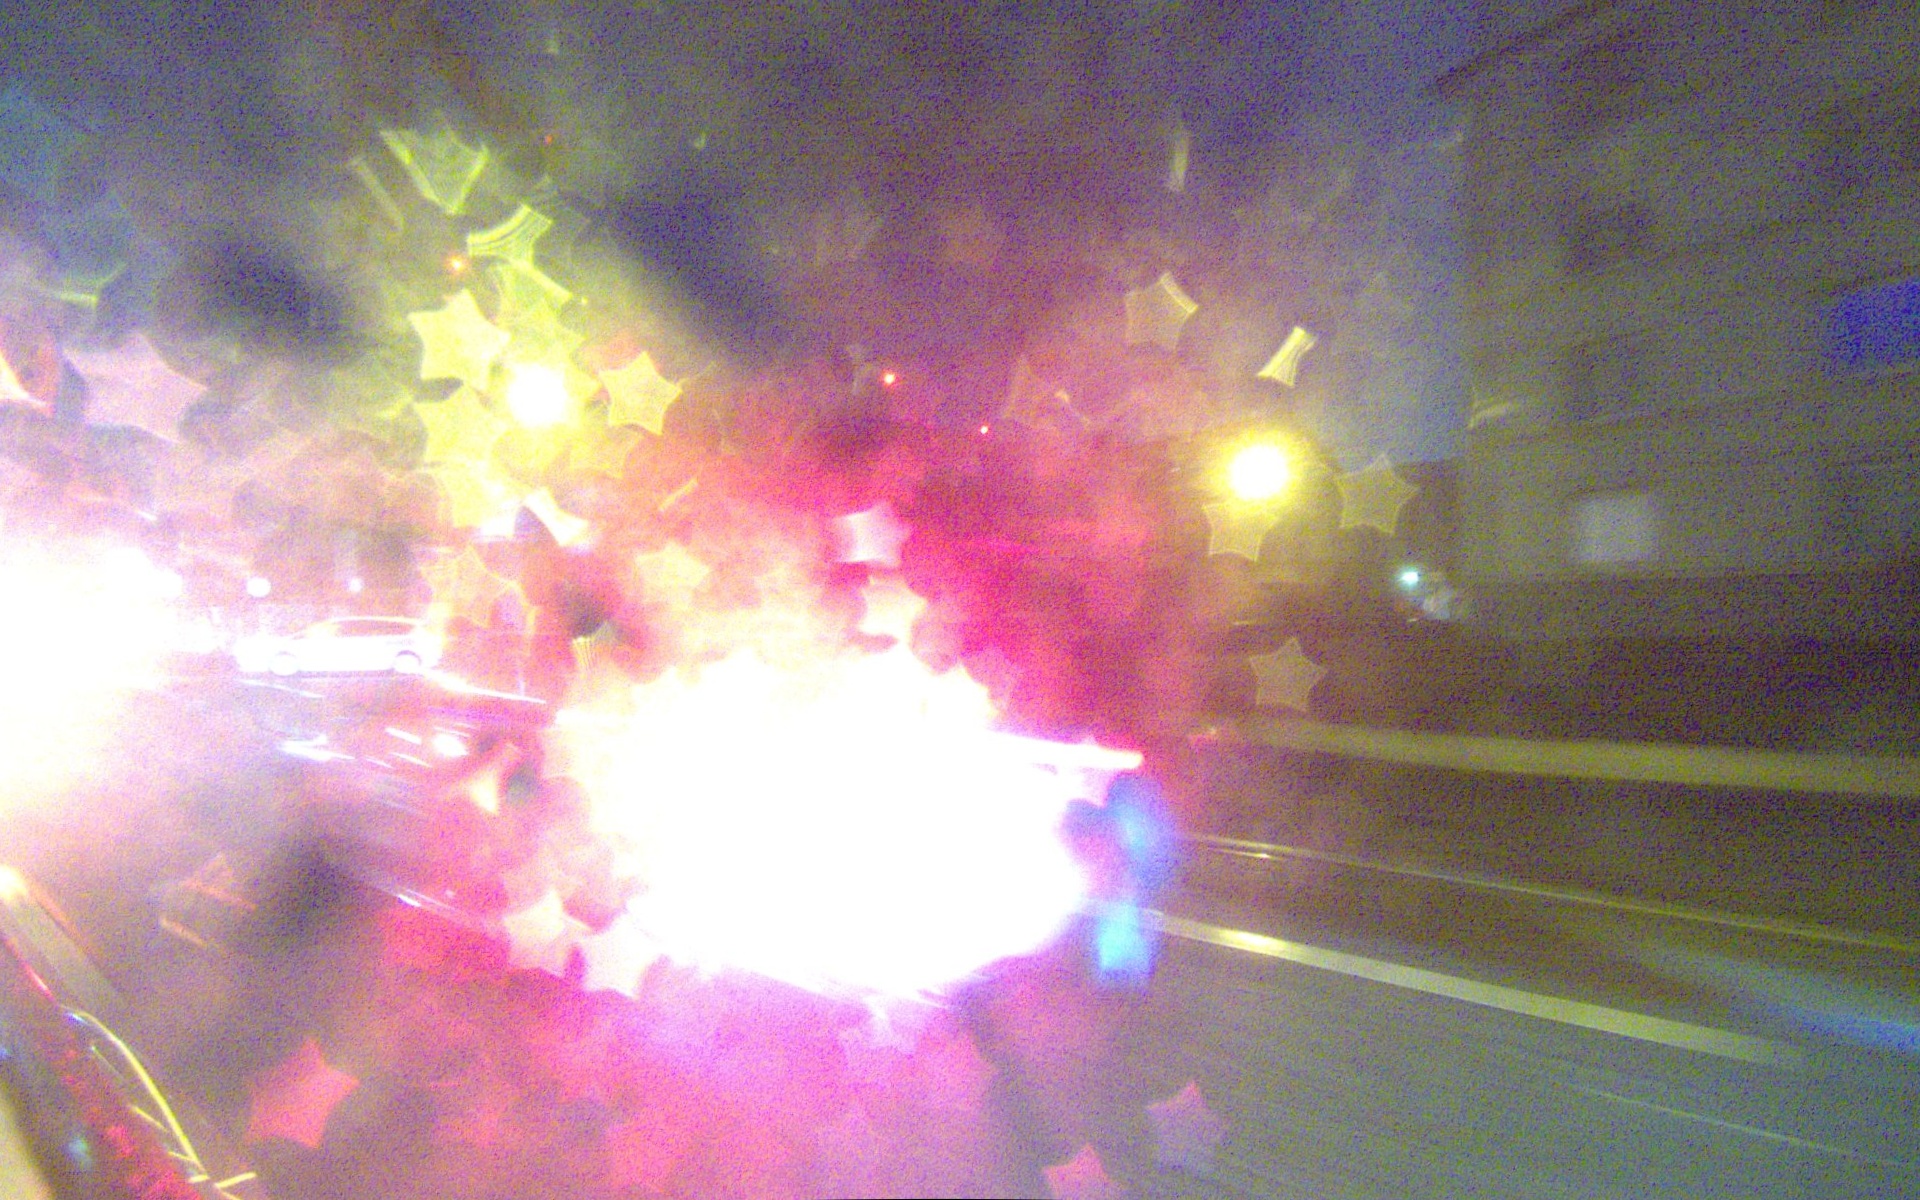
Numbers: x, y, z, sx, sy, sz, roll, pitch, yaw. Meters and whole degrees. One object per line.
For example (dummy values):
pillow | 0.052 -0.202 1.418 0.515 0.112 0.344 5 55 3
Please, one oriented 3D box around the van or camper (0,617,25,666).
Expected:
van or camper | -43.453 1.845 45.434 4.944 2.119 1.849 -2 -3 44

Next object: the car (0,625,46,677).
car | -29.311 1.547 30.904 4.579 1.472 1.776 -2 0 44

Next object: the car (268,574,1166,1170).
car | -1.483 0.761 4.602 4.509 1.445 1.658 -3 -3 41

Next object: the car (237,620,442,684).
car | -17.034 1.419 27.869 4.628 1.631 2.004 2 -4 -37

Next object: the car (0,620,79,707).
car | -17.774 1.157 19.016 2.793 1.510 1.531 -2 -1 42

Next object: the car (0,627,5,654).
car | -54.079 2.259 55.987 1.725 1.444 4.002 1 -3 -45
